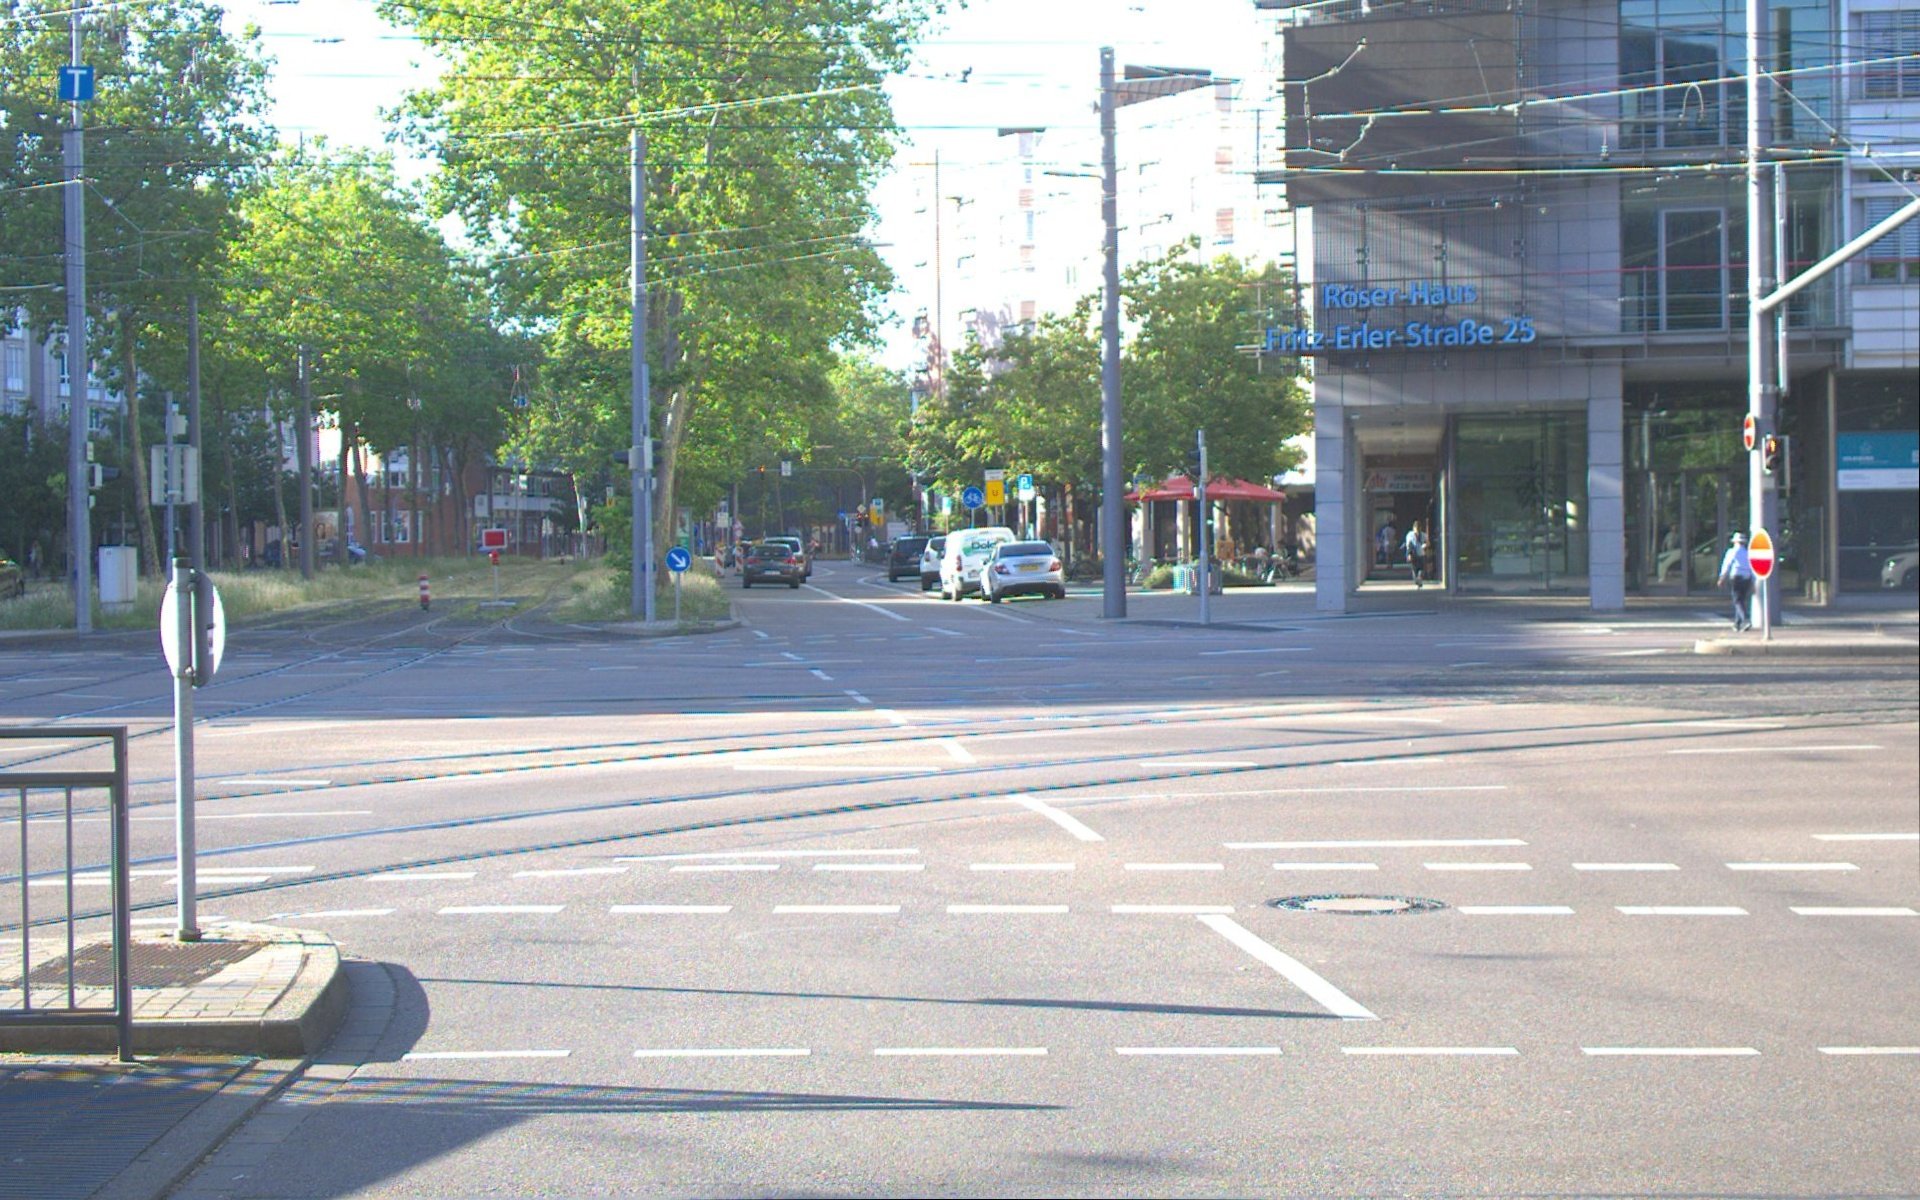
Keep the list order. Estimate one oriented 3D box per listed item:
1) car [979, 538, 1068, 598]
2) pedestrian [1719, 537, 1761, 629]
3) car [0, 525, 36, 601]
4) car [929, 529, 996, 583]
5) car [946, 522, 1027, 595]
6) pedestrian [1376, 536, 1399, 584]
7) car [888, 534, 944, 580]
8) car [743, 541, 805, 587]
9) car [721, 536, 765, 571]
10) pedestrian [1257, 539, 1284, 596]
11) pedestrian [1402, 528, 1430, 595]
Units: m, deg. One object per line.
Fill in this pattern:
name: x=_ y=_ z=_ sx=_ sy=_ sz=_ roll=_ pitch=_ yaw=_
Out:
car: x=1.508 y=-0.787 z=82.787 sx=1.993 sy=1.371 sz=4.000 roll=-1 pitch=1 yaw=-1
pedestrian: x=12.971 y=-0.284 z=57.185 sx=0.612 sy=1.502 sz=0.579 roll=-1 pitch=1 yaw=7
car: x=-21.651 y=-0.802 z=74.938 sx=1.993 sy=1.634 sz=4.000 roll=-1 pitch=1 yaw=-1
car: x=0.055 y=-1.360 z=105.228 sx=1.993 sy=1.612 sz=4.000 roll=-1 pitch=1 yaw=0
car: x=0.665 y=-1.096 z=89.582 sx=1.993 sy=1.853 sz=4.000 roll=-1 pitch=1 yaw=-1
pedestrian: x=15.580 y=-1.456 z=125.256 sx=0.744 sy=1.708 sz=0.612 roll=-1 pitch=1 yaw=-1
car: x=-1.621 y=-1.598 z=126.678 sx=1.993 sy=1.612 sz=4.000 roll=-1 pitch=1 yaw=0
car: x=-5.949 y=-1.171 z=110.470 sx=1.797 sy=1.437 sz=4.000 roll=-1 pitch=1 yaw=-1
car: x=-9.259 y=-1.979 z=146.848 sx=1.797 sy=1.437 sz=4.000 roll=1 pitch=1 yaw=-2
pedestrian: x=9.478 y=-1.000 z=105.042 sx=0.744 sy=1.708 sz=0.612 roll=-1 pitch=1 yaw=-1
pedestrian: x=10.334 y=-0.874 z=77.980 sx=0.612 sy=1.502 sz=0.579 roll=-1 pitch=1 yaw=7
